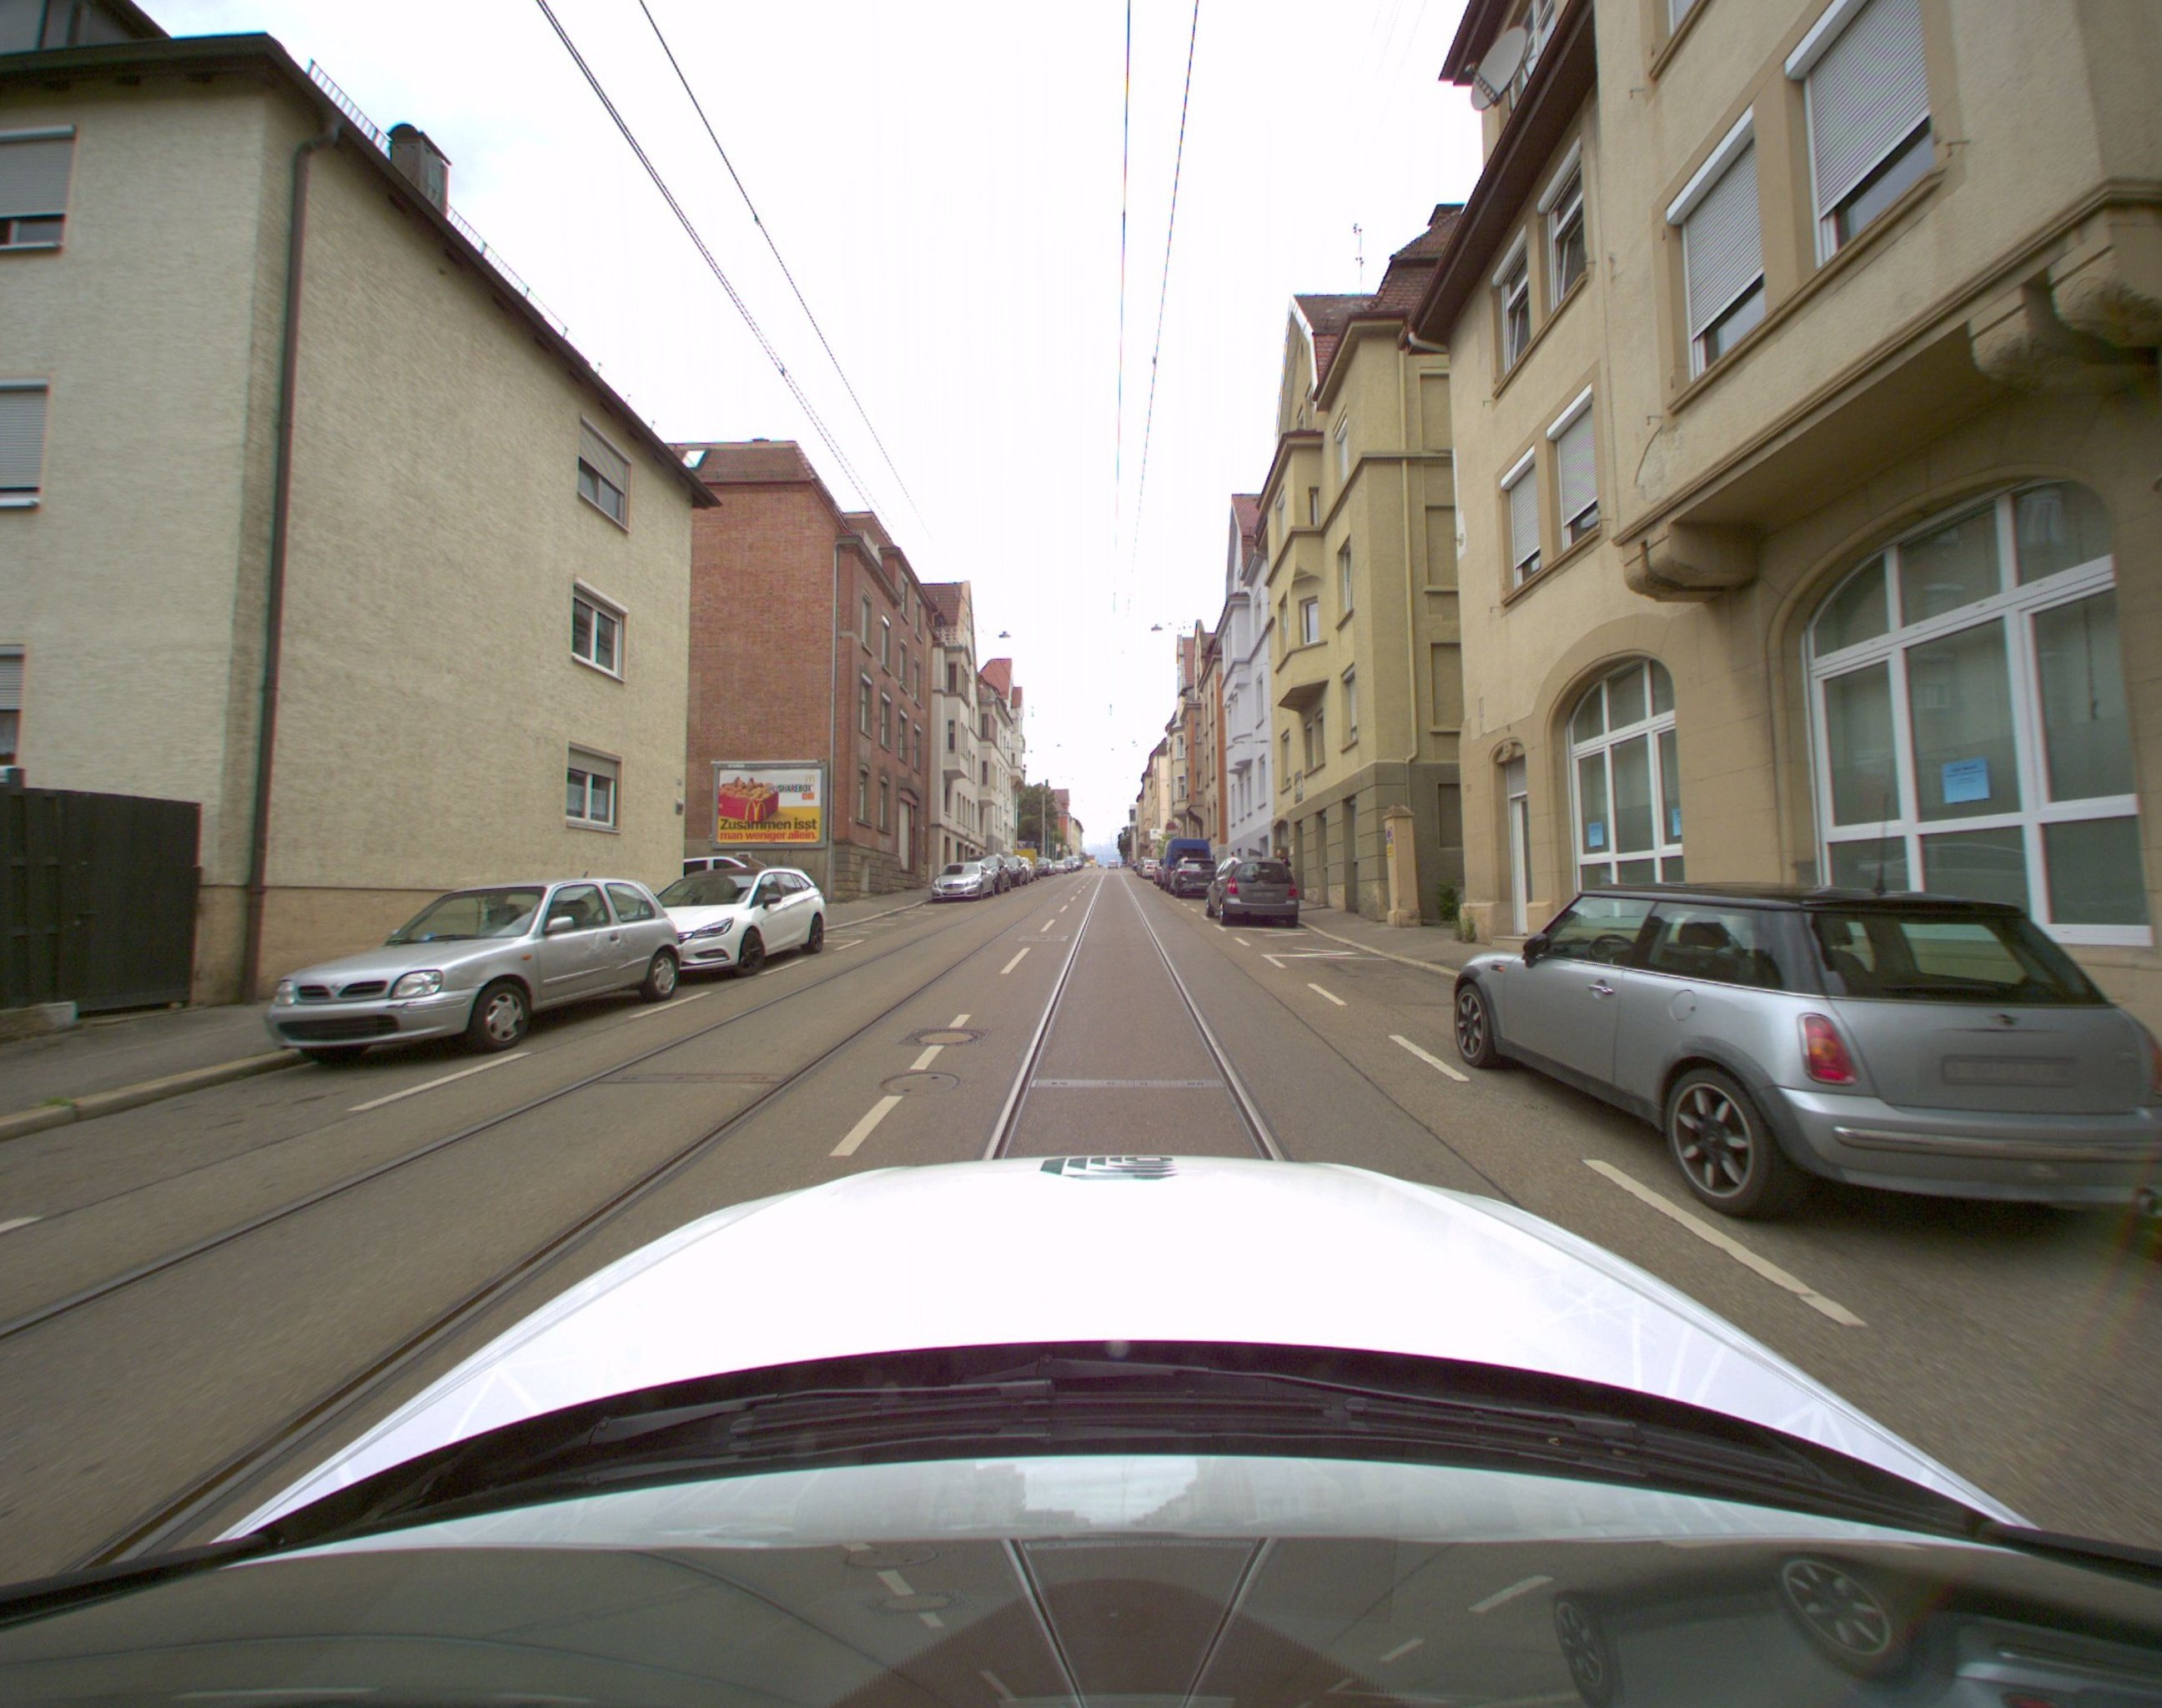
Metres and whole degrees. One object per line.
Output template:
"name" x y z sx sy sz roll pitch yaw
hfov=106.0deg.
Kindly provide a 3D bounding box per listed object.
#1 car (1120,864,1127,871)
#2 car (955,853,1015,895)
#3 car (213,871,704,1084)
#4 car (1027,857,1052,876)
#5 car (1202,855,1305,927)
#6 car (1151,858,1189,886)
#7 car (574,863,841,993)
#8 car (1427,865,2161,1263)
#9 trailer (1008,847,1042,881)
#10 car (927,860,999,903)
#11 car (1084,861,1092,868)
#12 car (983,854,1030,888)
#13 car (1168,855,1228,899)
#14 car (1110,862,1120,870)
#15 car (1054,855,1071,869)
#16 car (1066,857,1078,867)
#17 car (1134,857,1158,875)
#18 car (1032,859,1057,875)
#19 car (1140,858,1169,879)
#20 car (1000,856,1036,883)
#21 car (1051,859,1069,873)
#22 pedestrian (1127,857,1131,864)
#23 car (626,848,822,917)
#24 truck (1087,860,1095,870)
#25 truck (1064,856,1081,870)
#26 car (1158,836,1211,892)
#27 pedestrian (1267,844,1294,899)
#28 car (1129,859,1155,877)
"car" 11.368 3.596 217.394 1.985 1.563 4.292 0 -1 3
"car" -4.291 0.860 37.143 1.820 1.718 4.916 -3 0 3
"car" -5.456 0.951 7.872 1.594 1.368 3.810 -4 0 3
"car" -3.366 1.009 67.122 1.690 1.468 3.025 -3 -1 2
"car" 4.107 0.824 20.045 1.820 1.519 4.030 2 0 3
"car" 5.012 0.982 46.413 1.773 1.475 4.591 2 -1 2
"car" -5.286 0.940 12.358 1.822 1.429 4.627 -4 0 0
"car" 3.647 0.815 4.902 1.688 1.404 3.670 2 0 3
"trailer" -3.781 0.683 55.671 1.741 2.155 4.074 -3 0 3
"car" -4.511 0.993 31.727 1.820 1.429 4.842 -3 0 3
"car" 1.620 2.566 199.356 1.848 1.607 4.299 0 -1 2
"car" -4.048 0.888 45.265 1.866 1.664 4.895 -3 0 3
"car" 4.529 0.879 32.116 1.773 1.530 4.193 3 -1 1
"car" 6.168 2.182 148.464 1.666 1.513 3.798 -1 -1 1
"car" -2.354 1.097 106.372 1.736 1.736 4.523 -2 -1 4
"car" -1.333 1.162 124.711 1.691 1.433 4.481 -2 -1 1
"car" 5.611 1.030 71.021 1.729 1.537 4.573 2 -1 0
"car" -3.232 1.130 72.313 1.772 1.357 4.295 -1 -1 3
"car" 5.302 1.025 59.358 1.744 1.390 4.308 2 -1 1
"car" -3.940 0.953 51.503 1.690 1.594 4.271 -3 0 3
"car" -2.449 1.378 95.122 1.689 1.556 3.853 0 -1 4
"pedestrian" 10.642 1.448 180.670 0.787 1.667 0.799 0 -1 4
"car" -11.020 0.854 25.456 5.161 1.818 1.939 -3 0 -2
"truck" 3.126 3.511 253.871 2.293 3.037 9.037 0 -1 2
"truck" -1.286 1.393 131.374 2.271 2.188 8.031 0 -1 3
"car" 4.695 0.463 37.539 1.986 2.376 5.058 0 -1 2
"pedestrian" 6.315 0.570 25.784 0.540 1.682 0.515 -5 -3 -7
"car" 4.803 1.096 64.843 1.773 1.390 4.692 2 -1 1
